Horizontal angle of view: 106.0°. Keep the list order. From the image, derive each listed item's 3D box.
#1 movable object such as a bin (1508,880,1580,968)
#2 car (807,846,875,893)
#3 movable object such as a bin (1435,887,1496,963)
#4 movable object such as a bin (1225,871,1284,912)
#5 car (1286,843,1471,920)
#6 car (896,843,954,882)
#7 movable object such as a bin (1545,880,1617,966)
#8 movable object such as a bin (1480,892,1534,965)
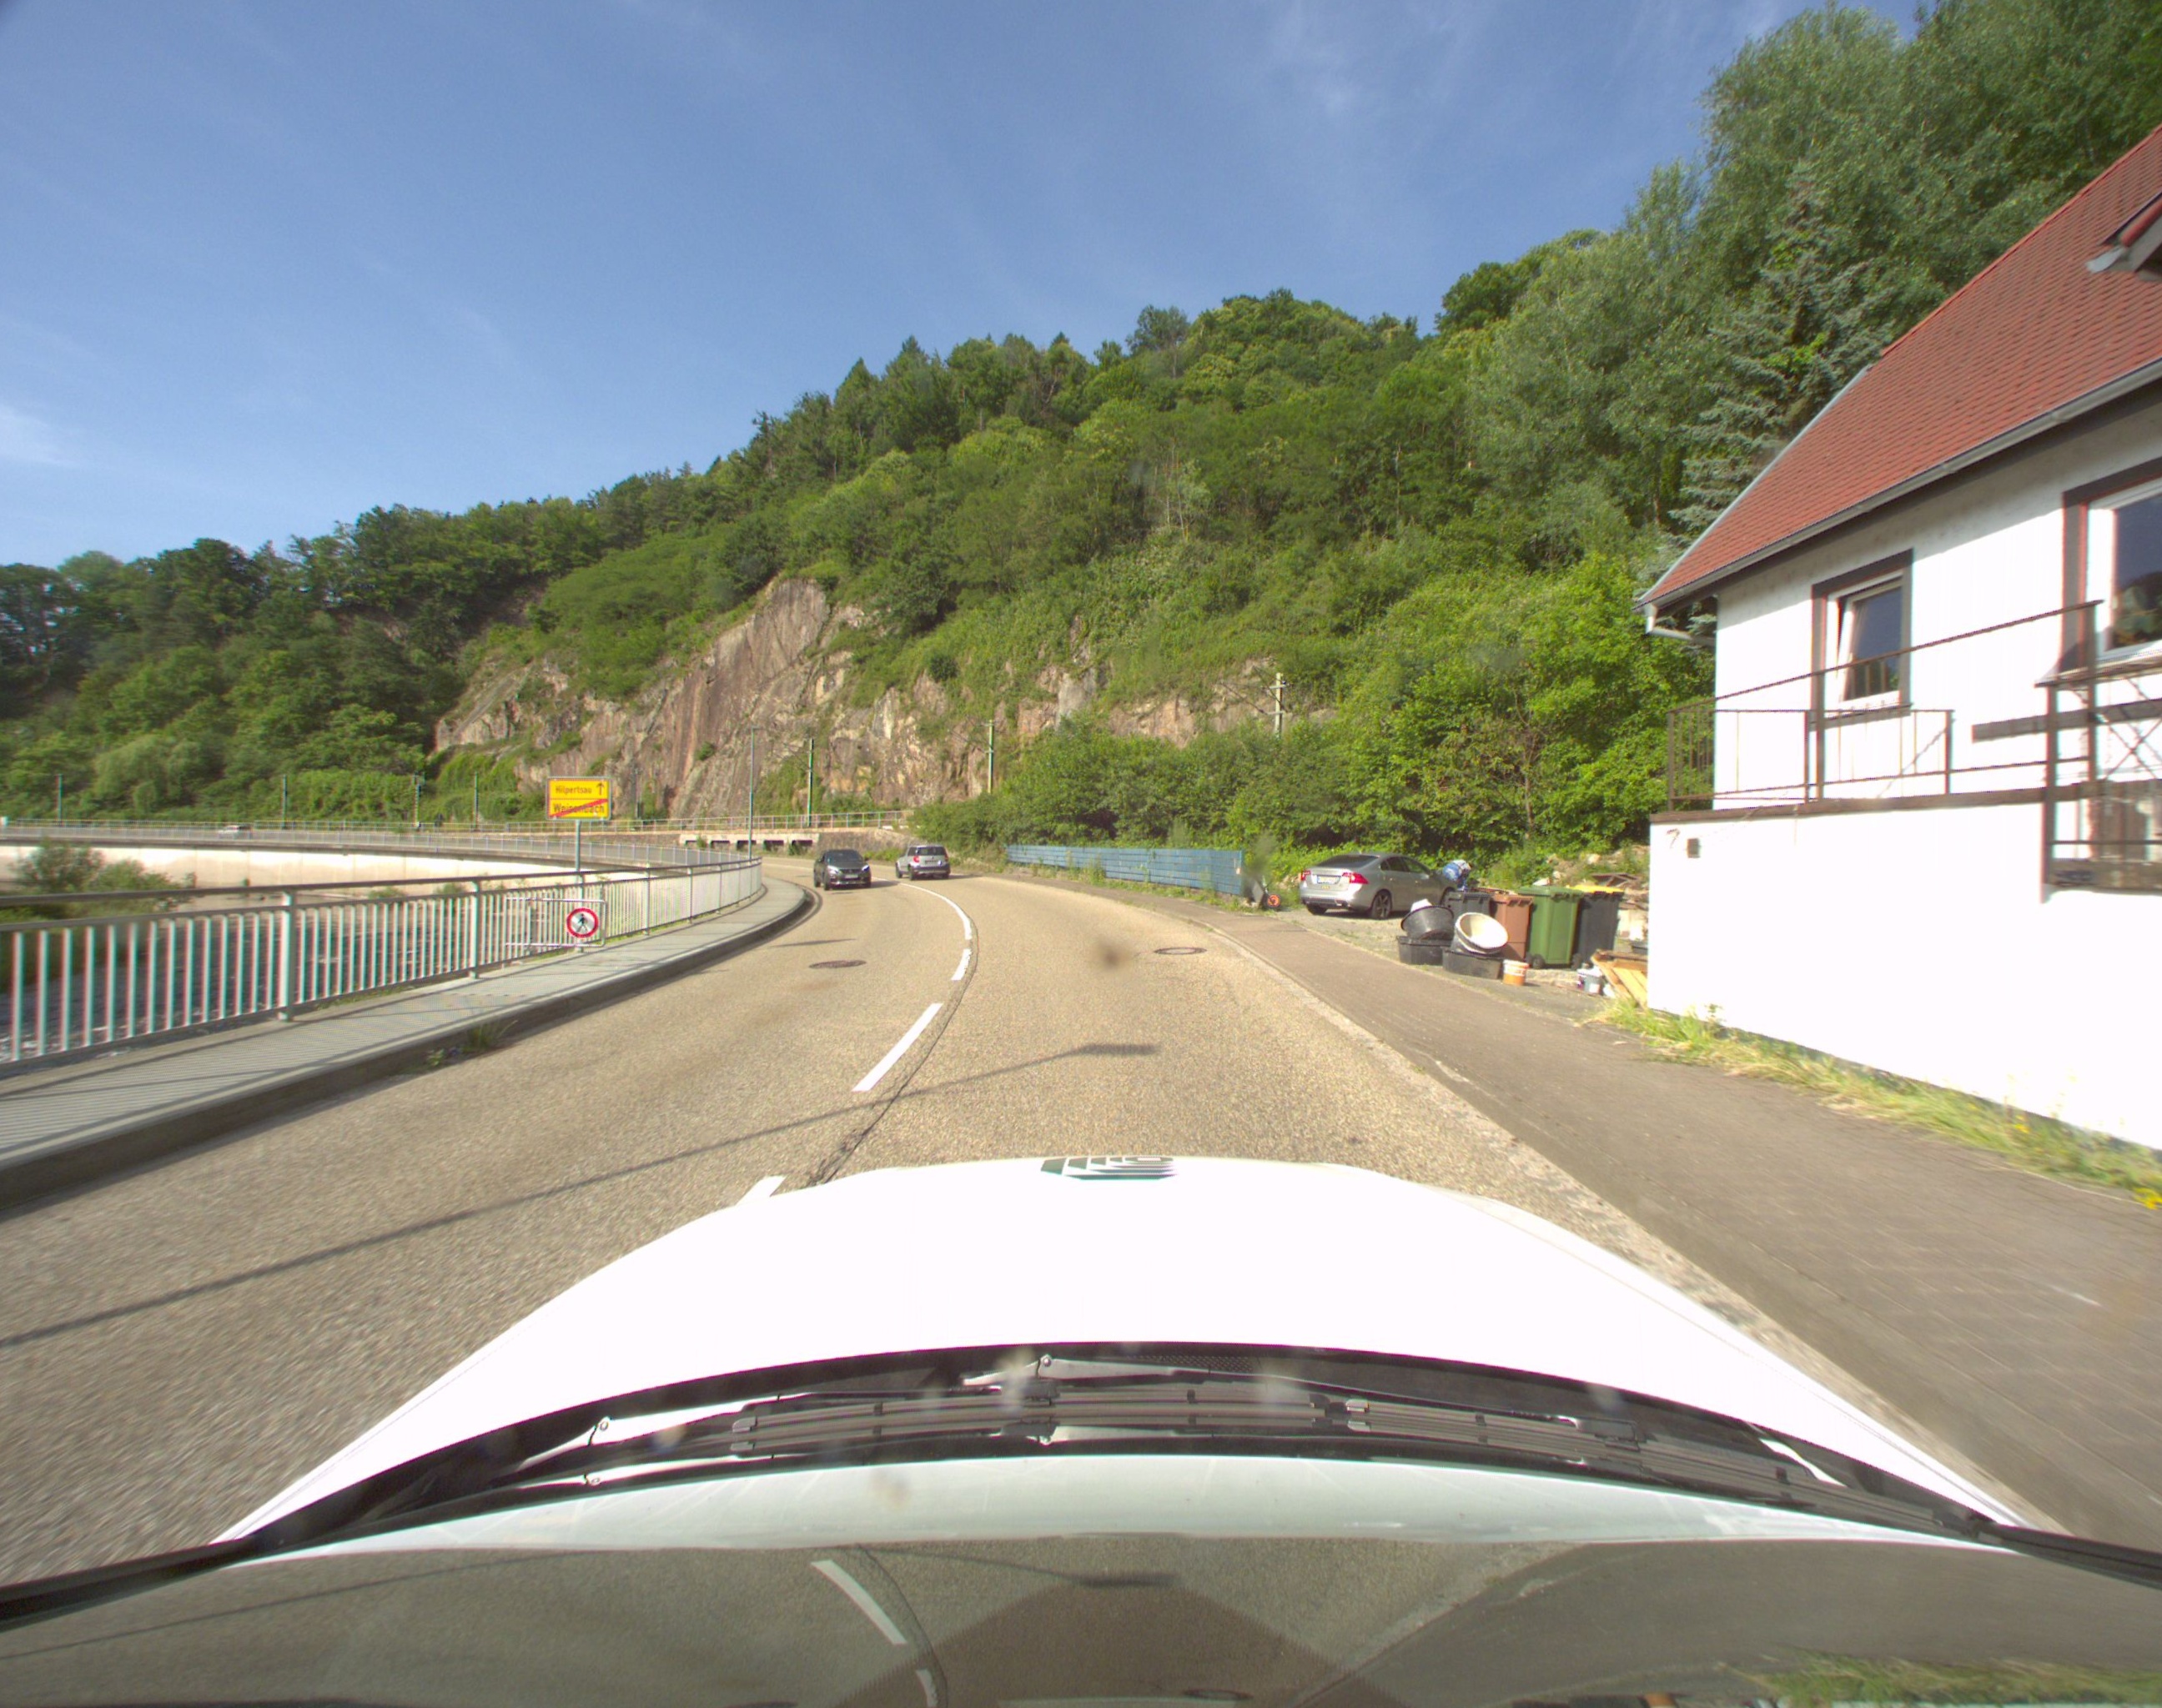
[{"bbox_3d":[6.015,0.893,10.606,0.476,1.062,0.752,1,0,-1],"label":"movable object such as a bin"},{"bbox_3d":[-9.923,0.560,33.514,1.826,1.642,3.963,-4,3,-29],"label":"car"},{"bbox_3d":[5.071,0.926,10.765,0.470,0.937,0.652,1,0,-1],"label":"movable object such as a bin"},{"bbox_3d":[4.180,0.886,19.836,0.852,0.847,2.538,2,0,0],"label":"movable object such as a bin"},{"bbox_3d":[6.827,0.595,18.525,4.349,1.469,1.817,-2,-2,-37],"label":"car"},{"bbox_3d":[-7.280,0.348,37.703,1.881,1.655,3.970,-1,1,-23],"label":"car"},{"bbox_3d":[6.591,0.896,10.761,0.476,1.062,0.752,1,0,-1],"label":"movable object such as a bin"},{"bbox_3d":[5.561,0.968,10.651,0.367,0.900,0.546,1,0,-7],"label":"movable object such as a bin"}]
